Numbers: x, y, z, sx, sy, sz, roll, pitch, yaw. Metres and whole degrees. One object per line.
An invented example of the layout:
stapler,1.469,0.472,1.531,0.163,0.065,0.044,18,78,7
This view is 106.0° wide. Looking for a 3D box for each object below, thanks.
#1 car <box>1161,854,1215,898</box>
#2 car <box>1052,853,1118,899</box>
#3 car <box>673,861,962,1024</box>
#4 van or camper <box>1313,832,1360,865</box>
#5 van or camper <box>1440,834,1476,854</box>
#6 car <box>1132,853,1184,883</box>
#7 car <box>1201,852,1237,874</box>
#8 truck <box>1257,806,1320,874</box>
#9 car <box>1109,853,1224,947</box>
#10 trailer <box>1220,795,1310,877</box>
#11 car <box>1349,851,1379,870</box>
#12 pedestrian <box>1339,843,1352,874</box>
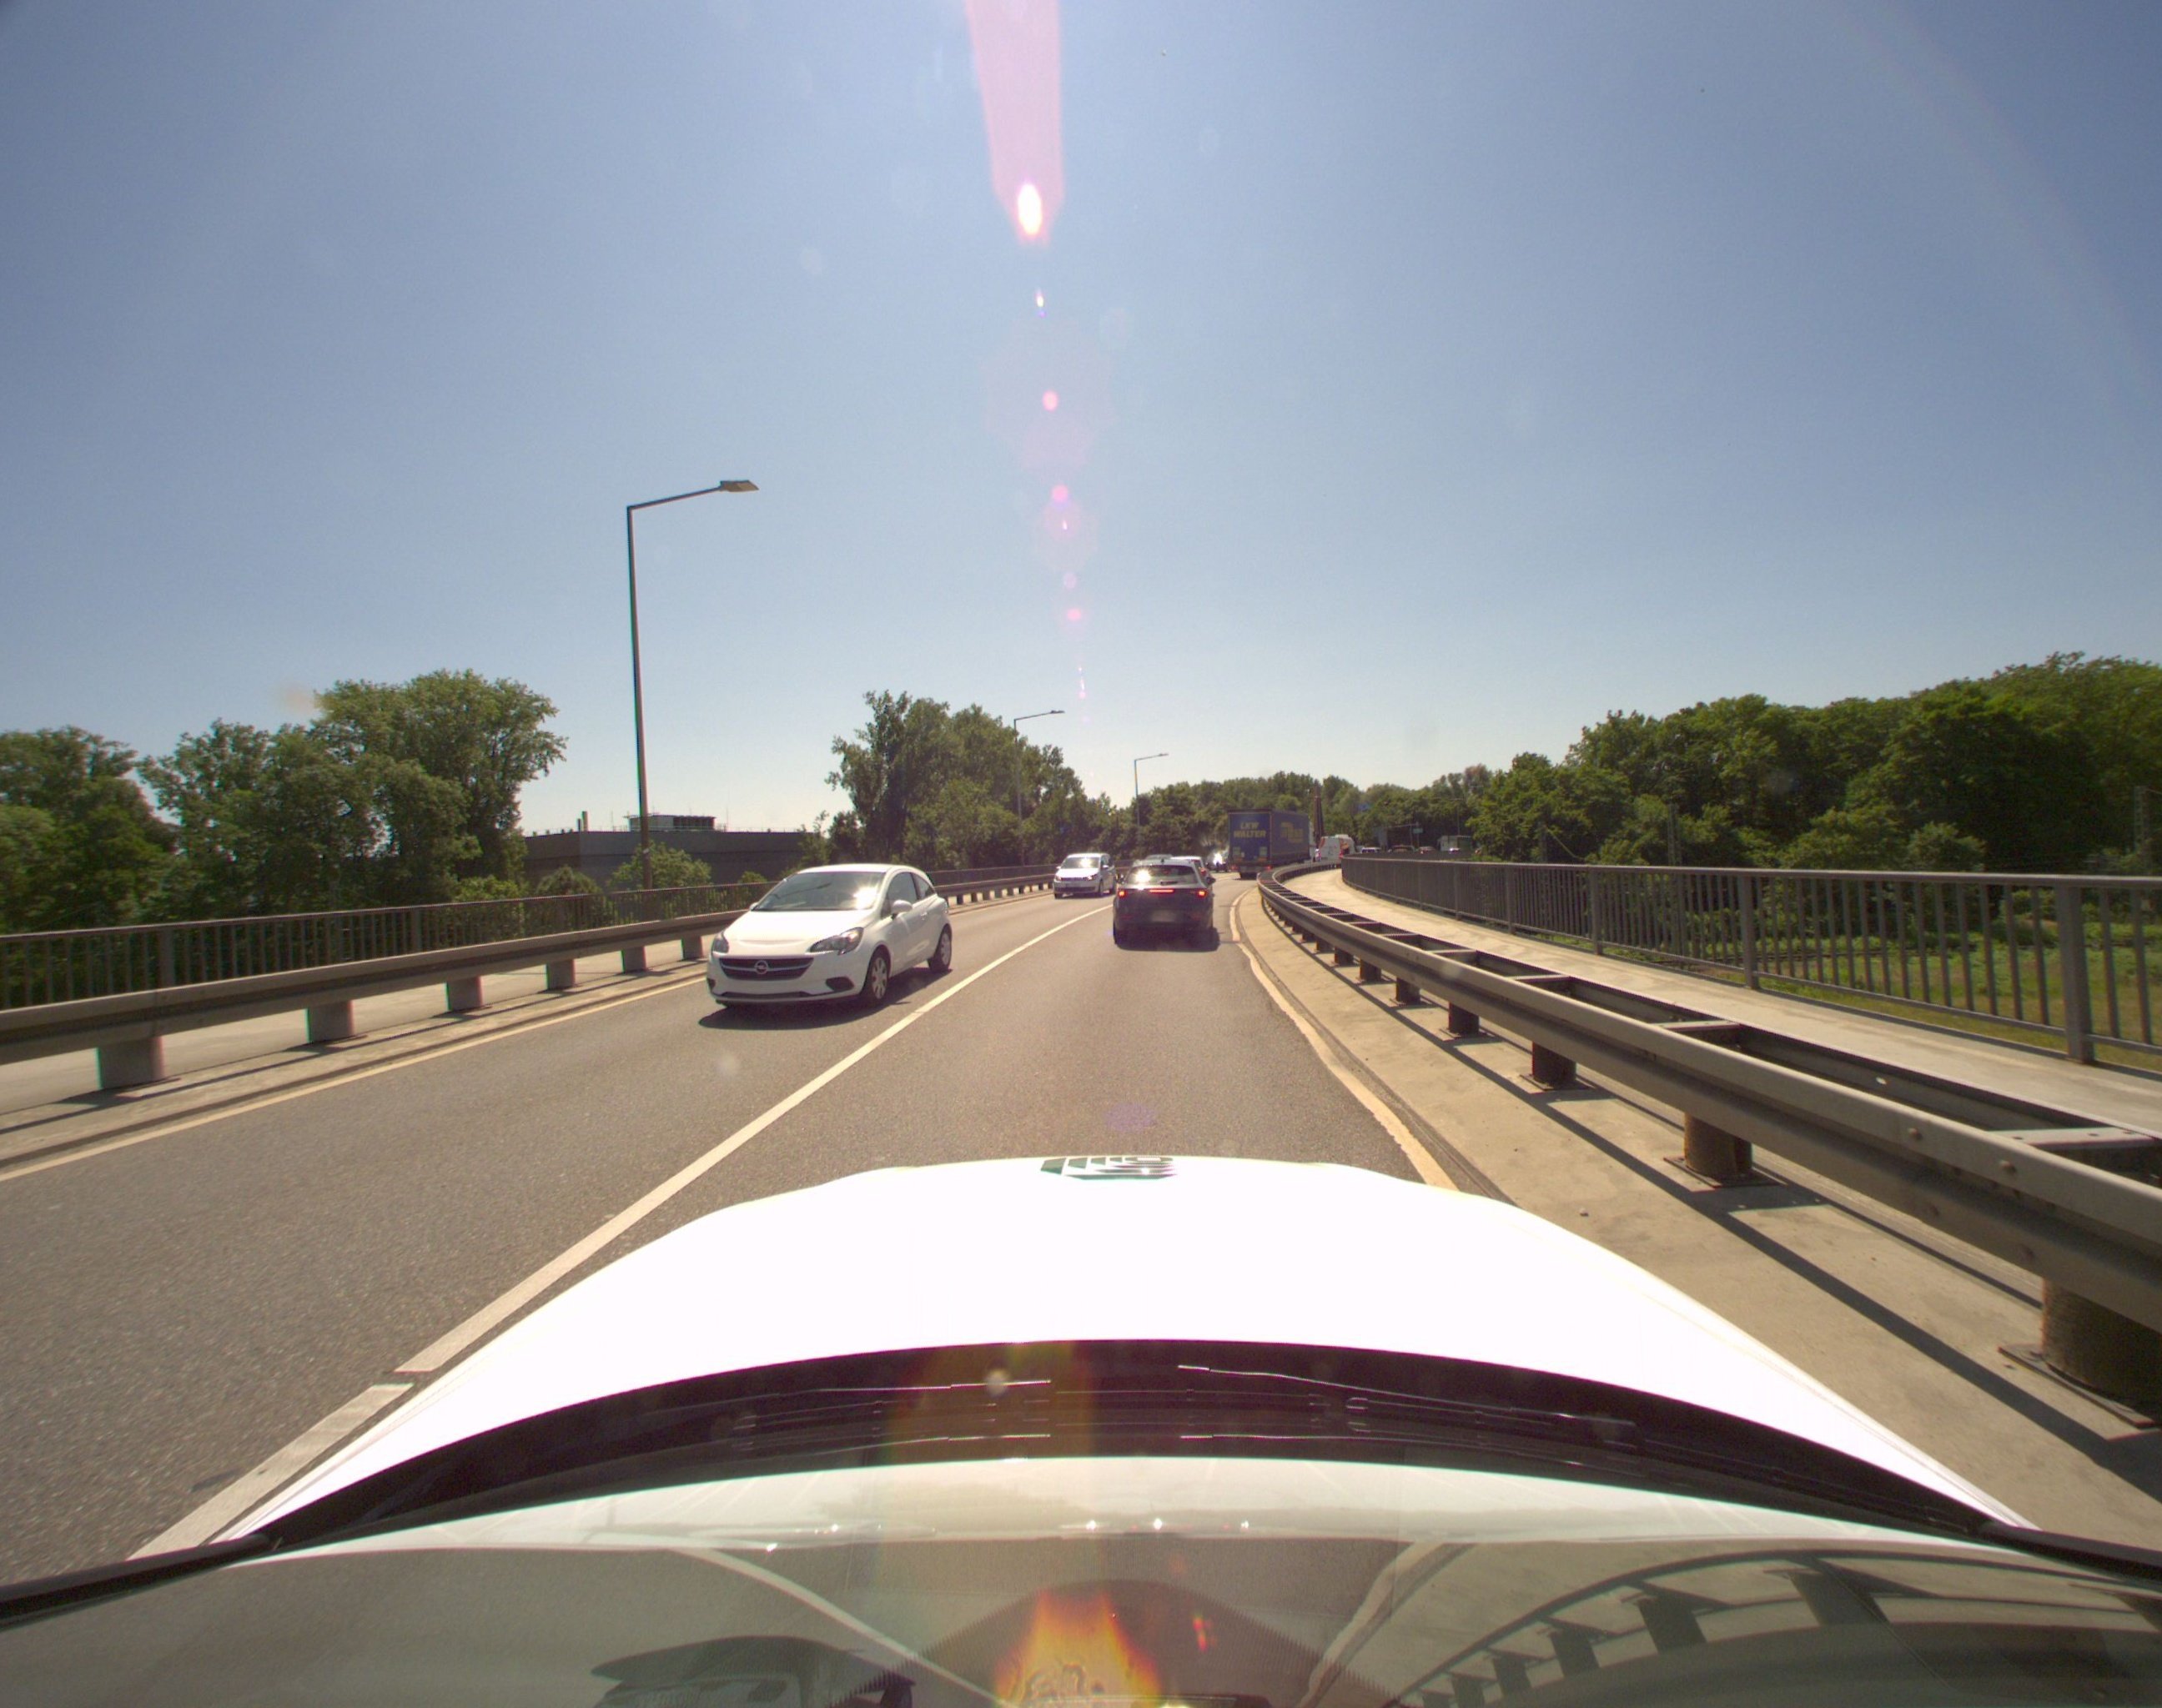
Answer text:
car,3.915,0.760,29.351,1.582,1.461,3.557,0,-1,13
car,0.224,0.806,31.161,1.704,1.615,4.132,-2,-1,11
car,-2.777,0.855,9.583,1.716,1.483,3.873,-2,-1,7
van or camper,22.174,-0.480,70.395,2.181,2.711,5.964,-1,0,34
van or camper,50.602,-1.333,109.225,4.985,2.292,2.463,4,1,-42
car,4.316,0.754,45.023,1.871,1.497,4.337,-2,-1,19
car,10.324,0.662,60.670,1.890,1.589,4.020,-2,-1,20
truck,15.086,-0.909,58.835,3.141,4.585,7.438,-1,-1,24
car,1.533,0.747,15.099,1.837,1.499,3.763,-1,0,4
trailer,12.050,-0.967,52.101,3.106,4.614,13.020,0,-1,24
car,27.575,0.654,79.326,1.870,1.850,4.025,-1,-1,31
pedestrian,17.097,0.315,52.685,0.730,1.967,0.738,-1,-1,23
